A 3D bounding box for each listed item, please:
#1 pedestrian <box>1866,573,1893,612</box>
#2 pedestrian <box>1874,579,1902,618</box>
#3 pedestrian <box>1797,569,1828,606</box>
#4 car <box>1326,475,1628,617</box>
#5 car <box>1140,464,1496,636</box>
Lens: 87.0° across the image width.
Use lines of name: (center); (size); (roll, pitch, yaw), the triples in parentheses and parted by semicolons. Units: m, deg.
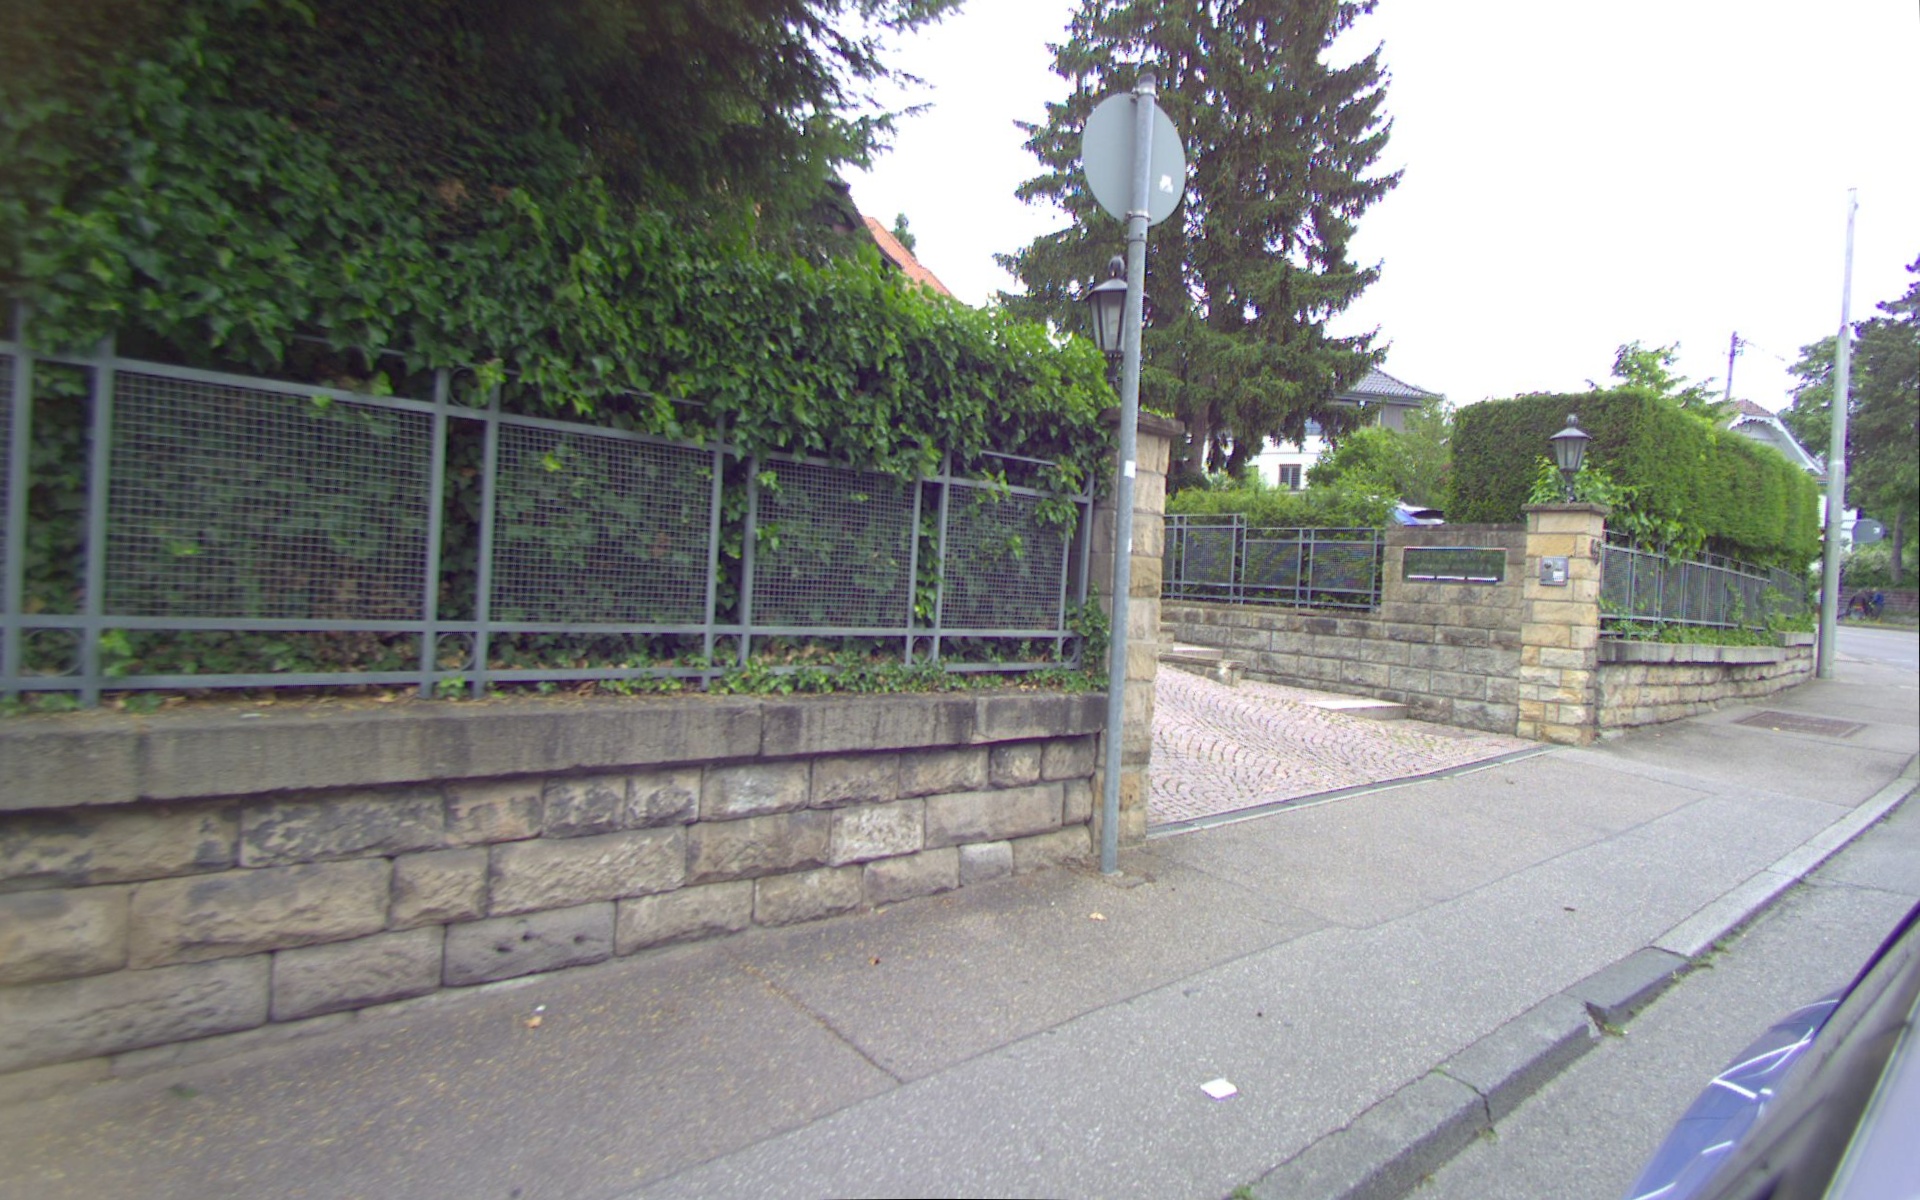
pedestrian: (44.834, -0.375, 49.341); (0.591, 1.857, 0.614); (2, 2, -13)
pedestrian: (44.413, -0.073, 48.426); (0.600, 1.809, 0.668); (2, 2, -16)
pedestrian: (43.069, -0.631, 51.148); (0.862, 1.836, 0.689); (2, 2, -12)
car: (8.166, -0.929, 16.258); (1.782, 1.629, 3.755); (0, 11, -41)
car: (4.758, -0.779, 13.925); (1.965, 1.629, 4.004); (0, 11, -41)
